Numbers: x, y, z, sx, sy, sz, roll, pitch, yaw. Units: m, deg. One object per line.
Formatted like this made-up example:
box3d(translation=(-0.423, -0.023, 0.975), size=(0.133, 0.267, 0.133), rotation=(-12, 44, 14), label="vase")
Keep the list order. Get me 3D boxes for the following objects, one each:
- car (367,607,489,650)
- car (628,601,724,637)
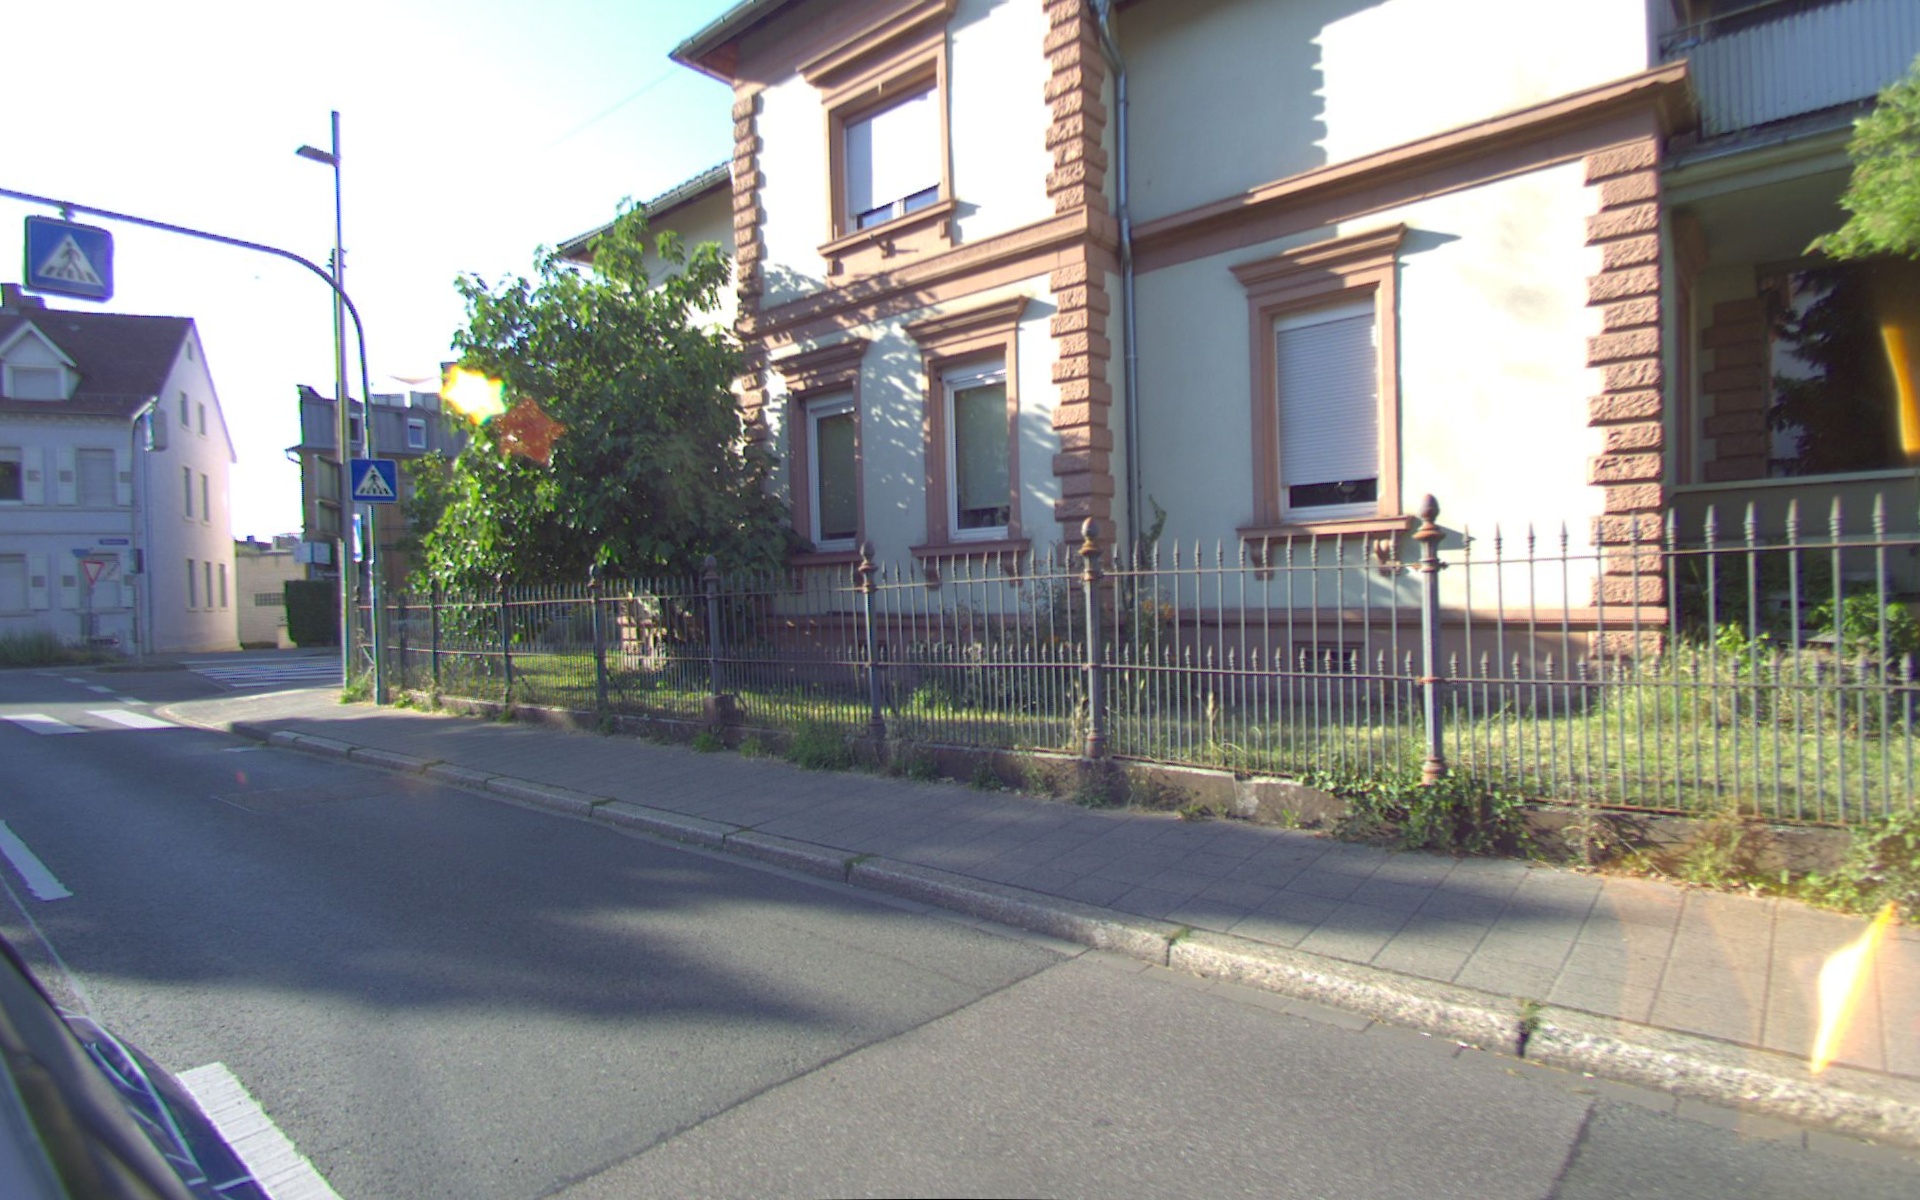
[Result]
box3d(translation=(-20.627, 1.072, 39.345), size=(1.702, 1.465, 3.827), rotation=(-1, 1, 44), label="car")
box3d(translation=(-13.227, 0.859, 47.259), size=(1.702, 1.465, 3.958), rotation=(-1, 1, 44), label="car")
